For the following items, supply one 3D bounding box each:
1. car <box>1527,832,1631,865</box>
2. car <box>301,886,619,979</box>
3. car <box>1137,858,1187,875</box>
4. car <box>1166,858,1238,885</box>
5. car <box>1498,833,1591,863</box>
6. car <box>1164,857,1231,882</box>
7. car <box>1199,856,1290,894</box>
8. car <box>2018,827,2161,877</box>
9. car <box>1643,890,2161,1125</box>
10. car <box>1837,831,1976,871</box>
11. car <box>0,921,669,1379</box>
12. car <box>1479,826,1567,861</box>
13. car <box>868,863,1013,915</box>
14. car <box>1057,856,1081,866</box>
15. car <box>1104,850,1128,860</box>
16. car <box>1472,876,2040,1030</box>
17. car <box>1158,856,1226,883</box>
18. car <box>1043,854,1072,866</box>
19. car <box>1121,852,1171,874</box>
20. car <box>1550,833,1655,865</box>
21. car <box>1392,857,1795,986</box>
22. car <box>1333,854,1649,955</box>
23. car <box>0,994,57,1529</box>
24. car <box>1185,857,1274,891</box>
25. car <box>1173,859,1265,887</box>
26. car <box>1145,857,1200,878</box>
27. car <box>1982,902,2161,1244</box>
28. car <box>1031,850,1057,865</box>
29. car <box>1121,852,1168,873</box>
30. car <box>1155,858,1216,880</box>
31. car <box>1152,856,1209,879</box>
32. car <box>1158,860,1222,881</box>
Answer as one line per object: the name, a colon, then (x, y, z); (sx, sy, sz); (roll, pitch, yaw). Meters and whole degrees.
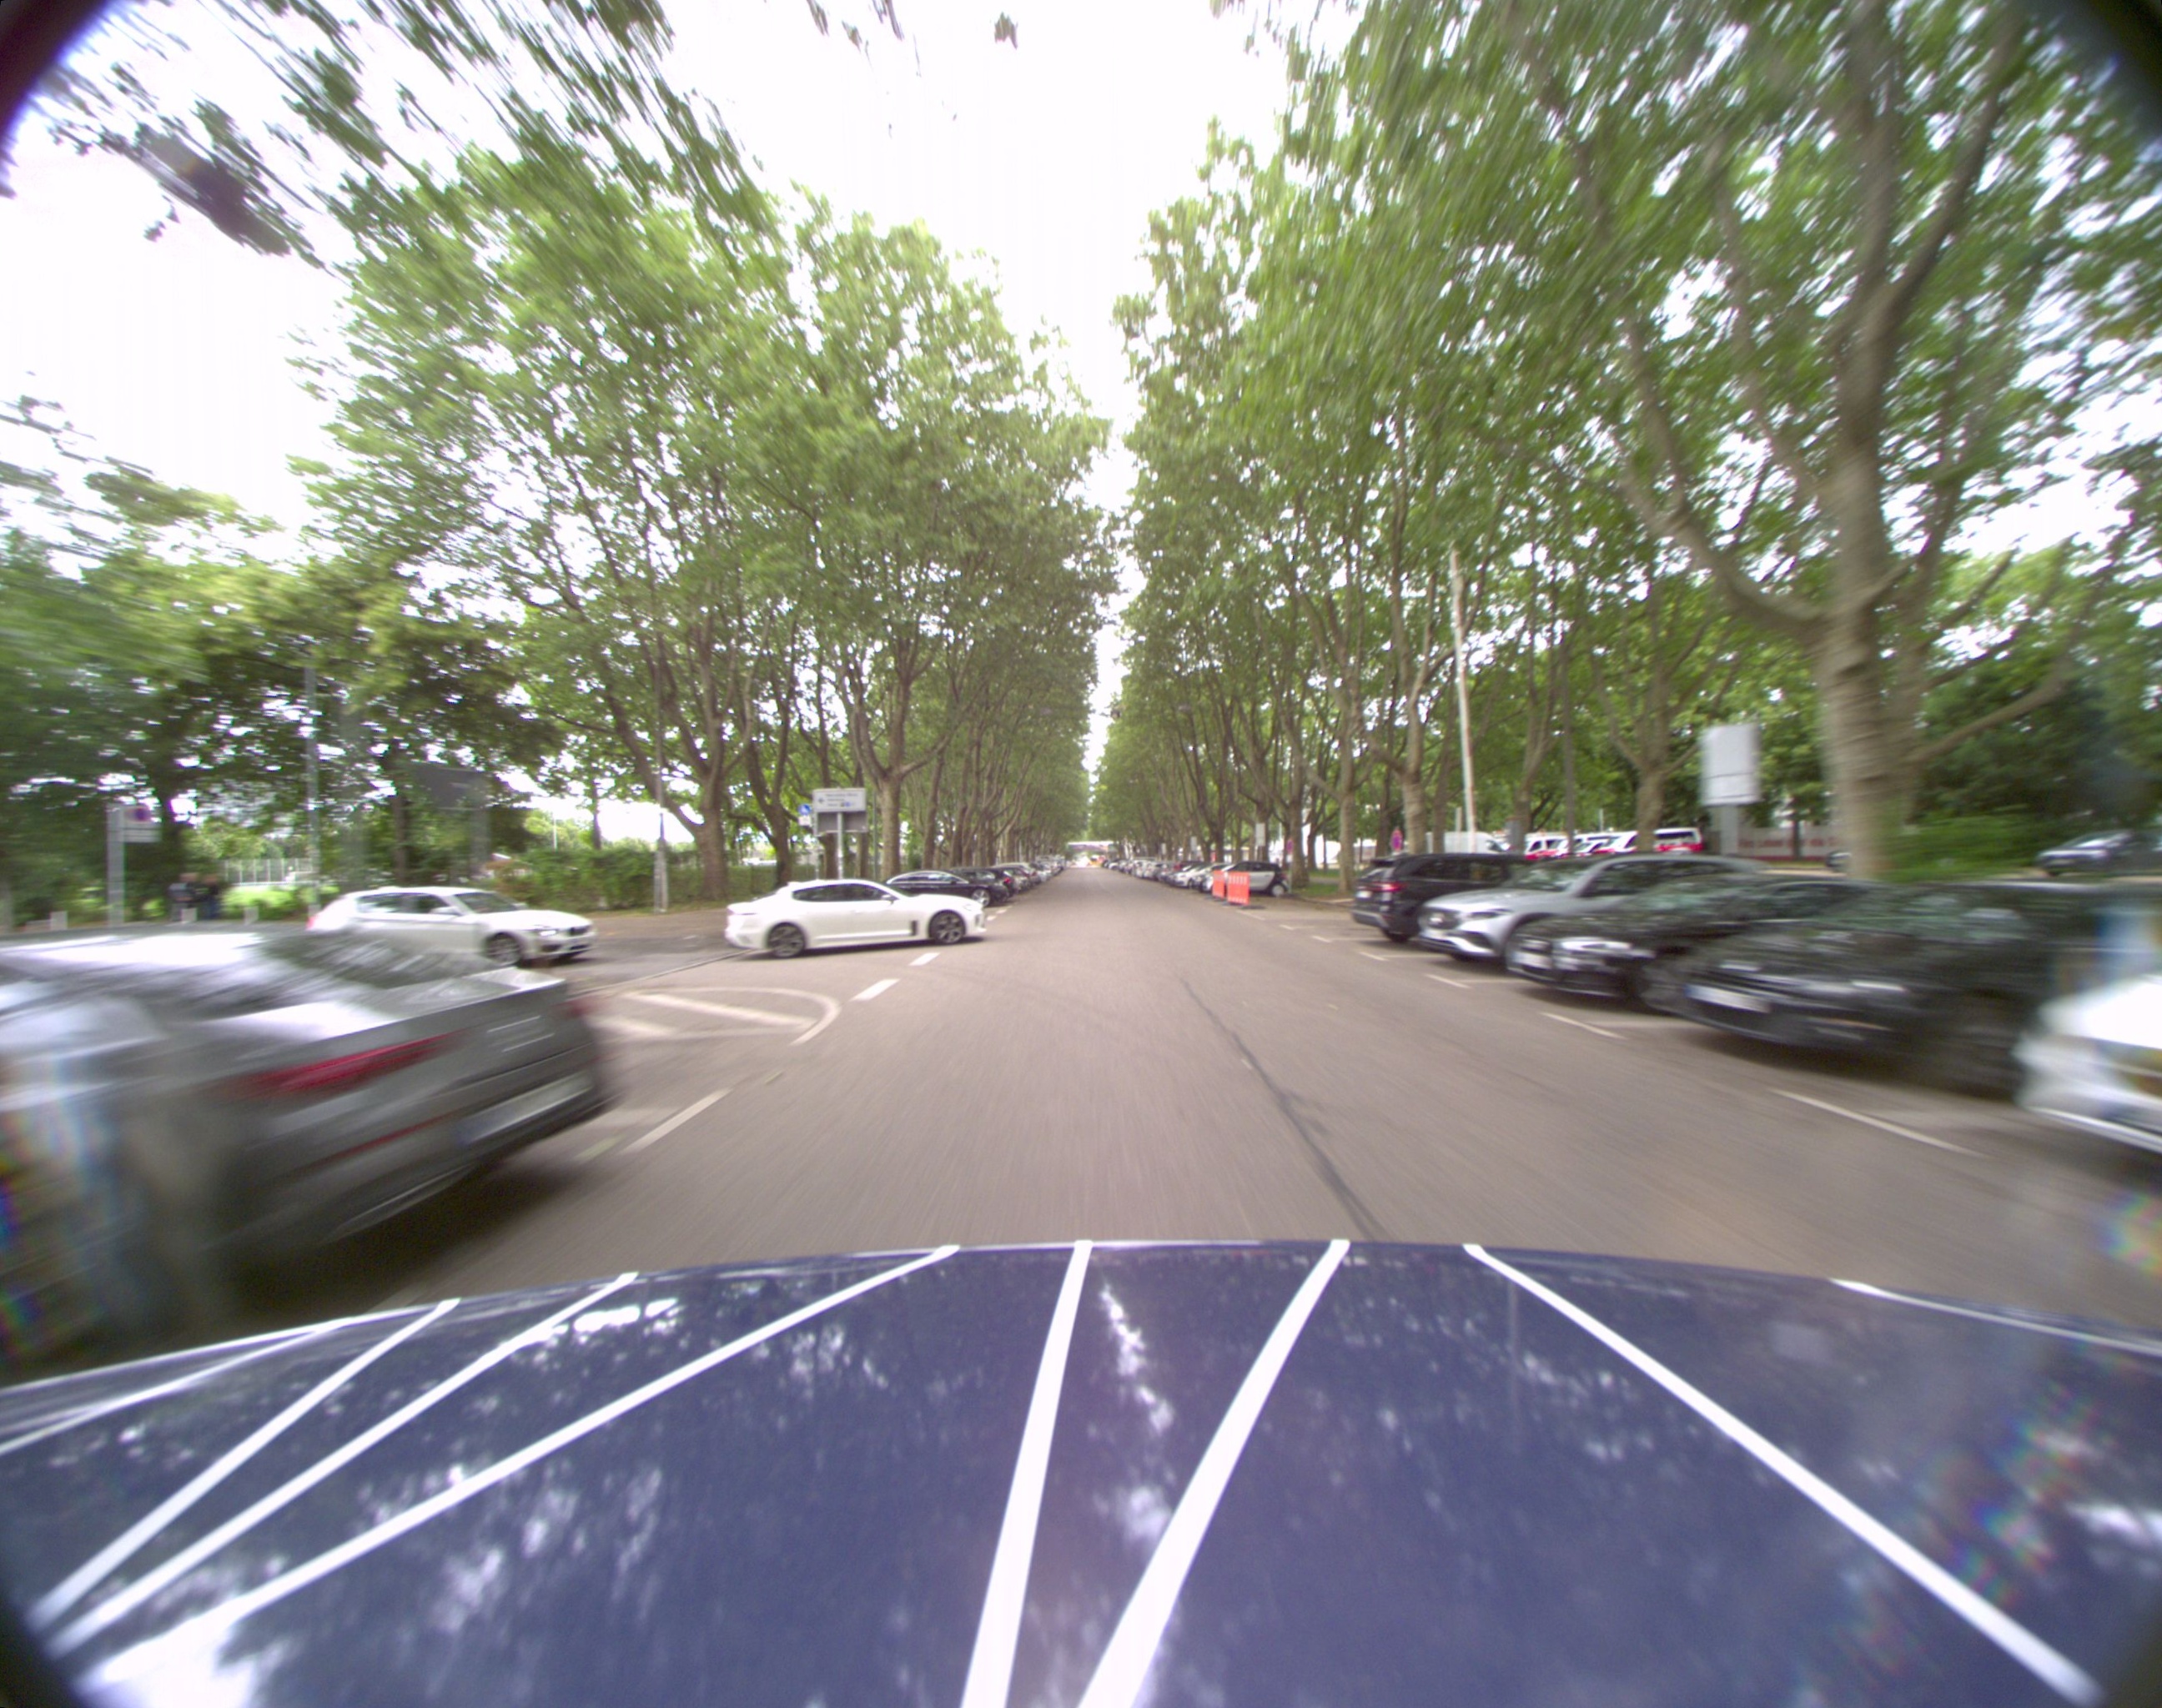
car: (33.972, -0.403, 51.919); (5.467, 1.986, 2.475); (-2, 1, -2)
car: (-11.196, 1.388, 13.939); (4.288, 1.453, 1.784); (-1, 0, -2)
car: (6.732, 1.037, 63.218); (3.996, 1.422, 2.001); (0, -1, 2)
car: (6.783, 0.971, 42.971); (3.847, 1.466, 1.847); (0, 0, 2)
car: (34.461, -0.460, 56.624); (5.467, 2.009, 2.393); (-2, 1, -2)
car: (7.347, 0.972, 48.146); (3.996, 1.505, 1.874); (0, 0, 2)
car: (7.047, 0.905, 33.003); (3.565, 1.569, 1.847); (0, 0, 2)
car: (34.292, -0.078, 25.368); (3.998, 1.478, 1.800); (-2, 1, -4)
car: (7.008, 0.999, 5.666); (4.420, 1.387, 1.724); (0, 0, -2)
car: (34.301, -0.136, 31.623); (3.998, 1.478, 1.800); (-2, 1, -4)
car: (-4.707, 1.180, 3.573); (4.598, 1.409, 1.719); (-2, 0, 3)
car: (34.424, -0.834, 59.312); (5.467, 2.502, 2.393); (-2, 1, -2)
car: (-5.014, 1.245, 27.696); (4.832, 1.497, 2.000); (-4, 0, -2)
car: (-2.496, 1.399, 160.245); (4.919, 1.817, 2.000); (-2, -2, -3)
car: (7.580, 0.238, 163.869); (4.919, 1.817, 2.000); (-2, -2, -3)
car: (6.942, 0.956, 8.201); (4.420, 1.387, 2.047); (0, 0, -3)
car: (6.602, 0.930, 45.473); (3.847, 1.560, 1.847); (0, 0, 2)
car: (-3.990, 0.979, 130.291); (4.919, 1.817, 2.000); (-2, -2, -3)
car: (6.068, 0.863, 70.671); (4.492, 1.740, 2.001); (-4, 0, 5)
car: (33.837, -0.301, 49.408); (5.467, 1.839, 1.999); (-2, 1, -2)
car: (7.019, 0.851, 10.717); (4.421, 1.616, 2.046); (0, 0, -6)
car: (6.948, 0.817, 13.288); (4.419, 1.616, 2.047); (0, 0, 0)
car: (-4.852, 1.175, 1.016); (4.029, 1.409, 1.910); (-2, 0, -5)
car: (6.892, 0.915, 35.465); (3.847, 1.529, 1.676); (0, 0, 2)
car: (7.332, 0.986, 40.735); (4.575, 1.425, 2.090); (0, 0, 2)
car: (6.907, 1.009, 57.876); (4.039, 1.518, 1.800); (0, -1, 2)
car: (6.801, 0.952, 3.012); (4.419, 1.416, 1.776); (0, 0, -1)
car: (-6.121, 0.616, 125.440); (3.997, 2.273, 2.000); (-2, 1, 0)
car: (6.243, 0.844, 74.635); (4.492, 1.740, 2.001); (-4, 0, 5)
car: (7.273, 1.027, 53.165); (3.996, 1.462, 2.001); (0, -1, 2)
car: (7.243, 0.953, 55.646); (4.028, 1.619, 2.001); (0, -1, 2)
car: (7.174, 1.071, 50.357); (3.996, 1.302, 2.001); (0, -1, 2)
